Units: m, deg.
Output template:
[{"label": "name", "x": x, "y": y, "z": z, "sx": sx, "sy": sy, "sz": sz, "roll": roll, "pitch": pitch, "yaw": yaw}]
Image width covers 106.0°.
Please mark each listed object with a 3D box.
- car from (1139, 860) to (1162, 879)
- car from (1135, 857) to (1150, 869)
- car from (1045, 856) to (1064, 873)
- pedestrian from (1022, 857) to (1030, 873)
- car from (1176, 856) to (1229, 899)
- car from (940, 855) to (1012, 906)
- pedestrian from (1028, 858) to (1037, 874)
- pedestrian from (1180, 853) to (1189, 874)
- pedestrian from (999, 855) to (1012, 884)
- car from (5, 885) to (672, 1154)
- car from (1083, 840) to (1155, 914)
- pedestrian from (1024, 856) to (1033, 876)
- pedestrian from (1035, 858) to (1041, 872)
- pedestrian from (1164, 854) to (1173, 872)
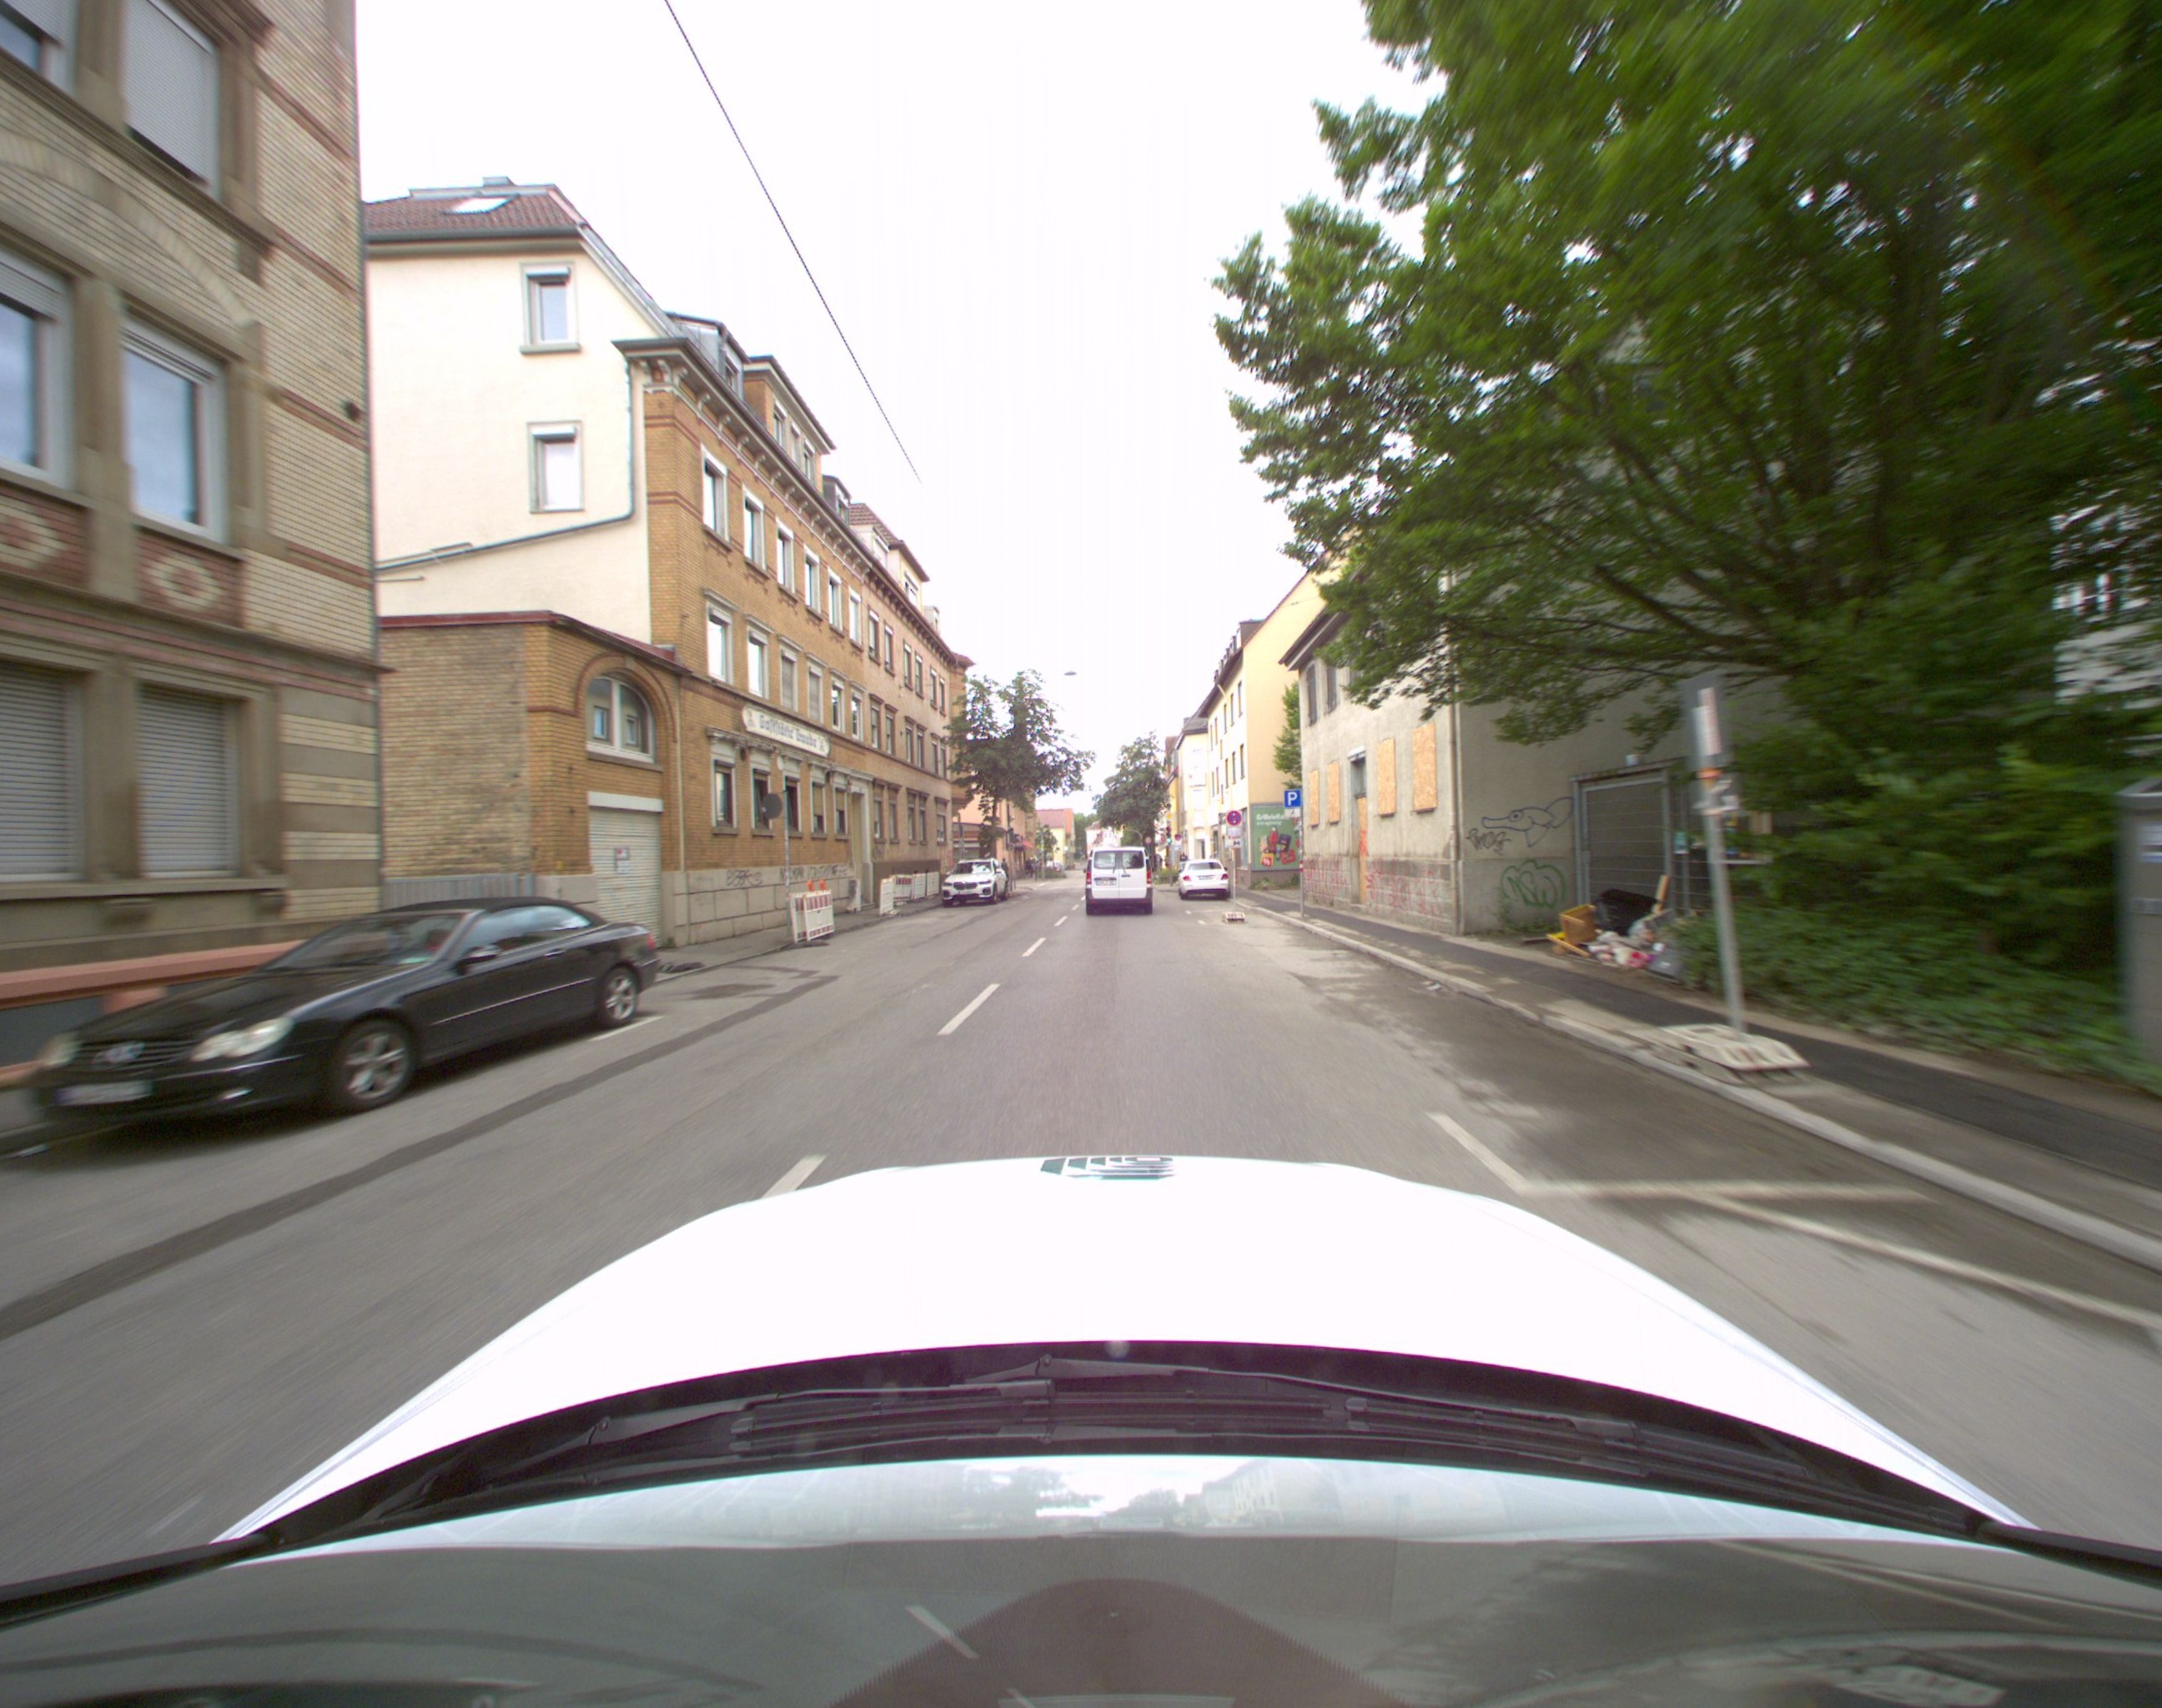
[{"label": "car", "x": 6.862, "y": 1.503, "z": 80.455, "sx": 1.814, "sy": 1.781, "sz": 4.402, "roll": -2, "pitch": -1, "yaw": 0}, {"label": "car", "x": 7.401, "y": 1.102, "z": 97.751, "sx": 1.546, "sy": 1.333, "sz": 3.812, "roll": -2, "pitch": -1, "yaw": 0}, {"label": "car", "x": -2.782, "y": 1.064, "z": 86.072, "sx": 1.697, "sy": 1.574, "sz": 4.451, "roll": -4, "pitch": 0, "yaw": 1}, {"label": "pedestrian", "x": -5.650, "y": 1.122, "z": 84.202, "sx": 0.729, "sy": 1.628, "sz": 0.756, "roll": -2, "pitch": 0, "yaw": -8}, {"label": "car", "x": 4.649, "y": 0.855, "z": 31.699, "sx": 1.759, "sy": 1.466, "sz": 4.790, "roll": -2, "pitch": 0, "yaw": 5}, {"label": "car", "x": -4.017, "y": 0.965, "z": 31.925, "sx": 1.883, "sy": 1.712, "sz": 4.744, "roll": -4, "pitch": 0, "yaw": 3}, {"label": "pedestrian", "x": -4.666, "y": 1.168, "z": 78.717, "sx": 0.736, "sy": 1.535, "sz": 0.982, "roll": -1, "pitch": 0, "yaw": 0}, {"label": "pedestrian", "x": 8.026, "y": 0.739, "z": 63.205, "sx": 0.612, "sy": 1.653, "sz": 0.983, "roll": -1, "pitch": 0, "yaw": 1}, {"label": "pedestrian", "x": -4.578, "y": 0.944, "z": 49.383, "sx": 0.737, "sy": 1.754, "sz": 0.981, "roll": -1, "pitch": 0, "yaw": -3}, {"label": "car", "x": -5.582, "y": 1.088, "z": 7.082, "sx": 1.572, "sy": 1.383, "sz": 4.358, "roll": -3, "pitch": 0, "yaw": 3}, {"label": "car", "x": 1.094, "y": 0.626, "z": 23.898, "sx": 1.865, "sy": 1.912, "sz": 4.002, "roll": -2, "pitch": 0, "yaw": 2}, {"label": "pedestrian", "x": -4.662, "y": 1.040, "z": 72.569, "sx": 0.736, "sy": 1.718, "sz": 1.156, "roll": -1, "pitch": 0, "yaw": -1}, {"label": "pedestrian", "x": -4.848, "y": 1.222, "z": 91.505, "sx": 0.569, "sy": 1.554, "sz": 0.697, "roll": 0, "pitch": -1, "yaw": 2}, {"label": "pedestrian", "x": 8.617, "y": 0.887, "z": 80.184, "sx": 0.698, "sy": 1.649, "sz": 0.889, "roll": -3, "pitch": 0, "yaw": 0}]
